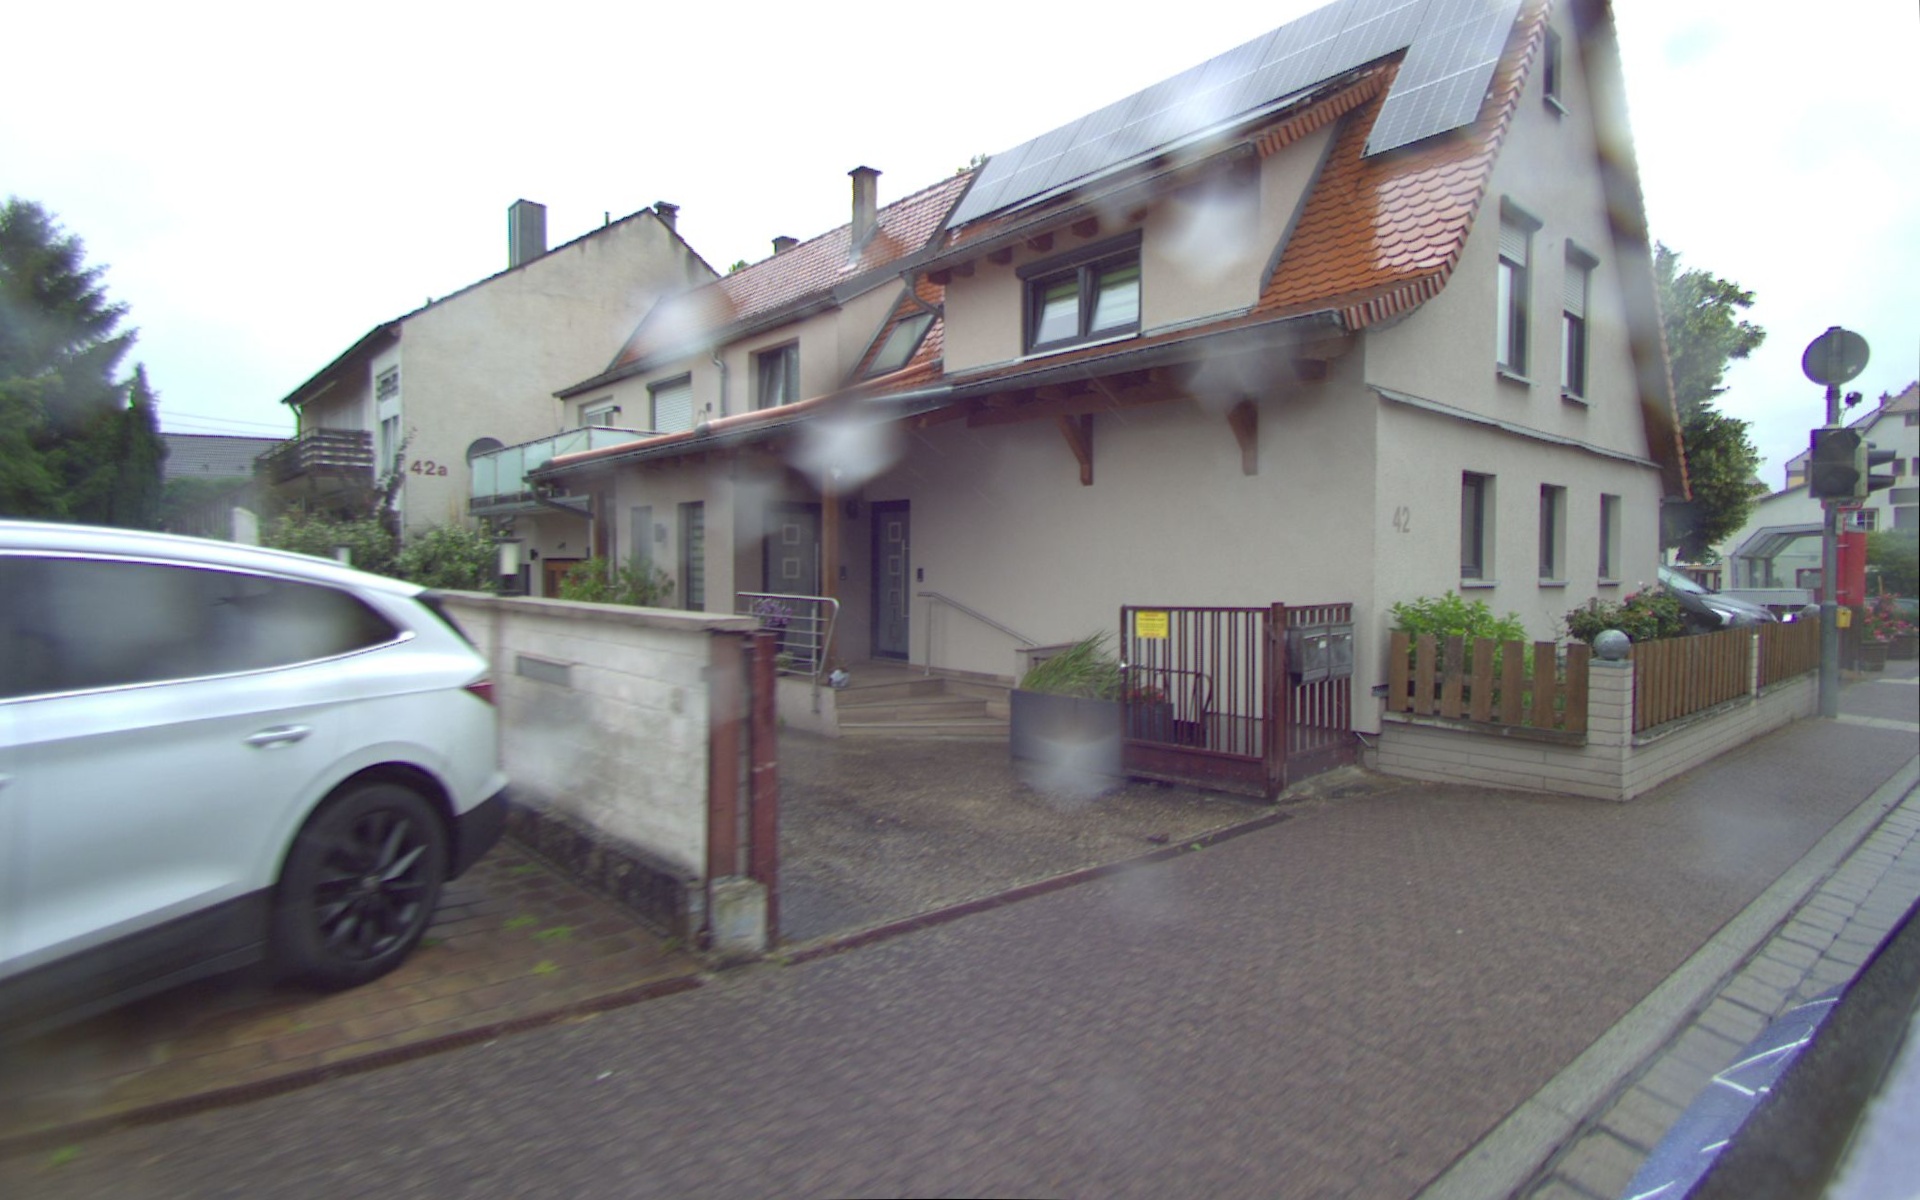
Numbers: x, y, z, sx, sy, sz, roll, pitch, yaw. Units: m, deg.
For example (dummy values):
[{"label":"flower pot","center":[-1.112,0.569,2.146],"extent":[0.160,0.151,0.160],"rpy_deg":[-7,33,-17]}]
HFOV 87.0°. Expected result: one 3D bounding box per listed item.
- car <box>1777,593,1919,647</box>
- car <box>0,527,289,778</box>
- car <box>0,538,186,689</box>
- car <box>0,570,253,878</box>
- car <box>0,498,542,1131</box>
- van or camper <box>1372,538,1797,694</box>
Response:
[{"label":"car","center":[27.264,0.564,30.154],"extent":[1.660,1.499,4.250],"rpy_deg":[0,1,-25]},{"label":"car","center":[-7.401,0.313,7.056],"extent":[1.792,1.696,4.182],"rpy_deg":[4,2,26]},{"label":"car","center":[-11.484,0.125,11.389],"extent":[1.793,1.666,4.028],"rpy_deg":[2,0,27]},{"label":"car","center":[-5.989,0.602,4.572],"extent":[1.856,1.536,4.258],"rpy_deg":[1,0,23]},{"label":"car","center":[-3.390,0.540,2.621],"extent":[1.850,1.611,4.596],"rpy_deg":[0,-2,15]},{"label":"van or camper","center":[9.029,0.231,15.057],"extent":[1.845,1.947,5.073],"rpy_deg":[0,-1,-43]}]
